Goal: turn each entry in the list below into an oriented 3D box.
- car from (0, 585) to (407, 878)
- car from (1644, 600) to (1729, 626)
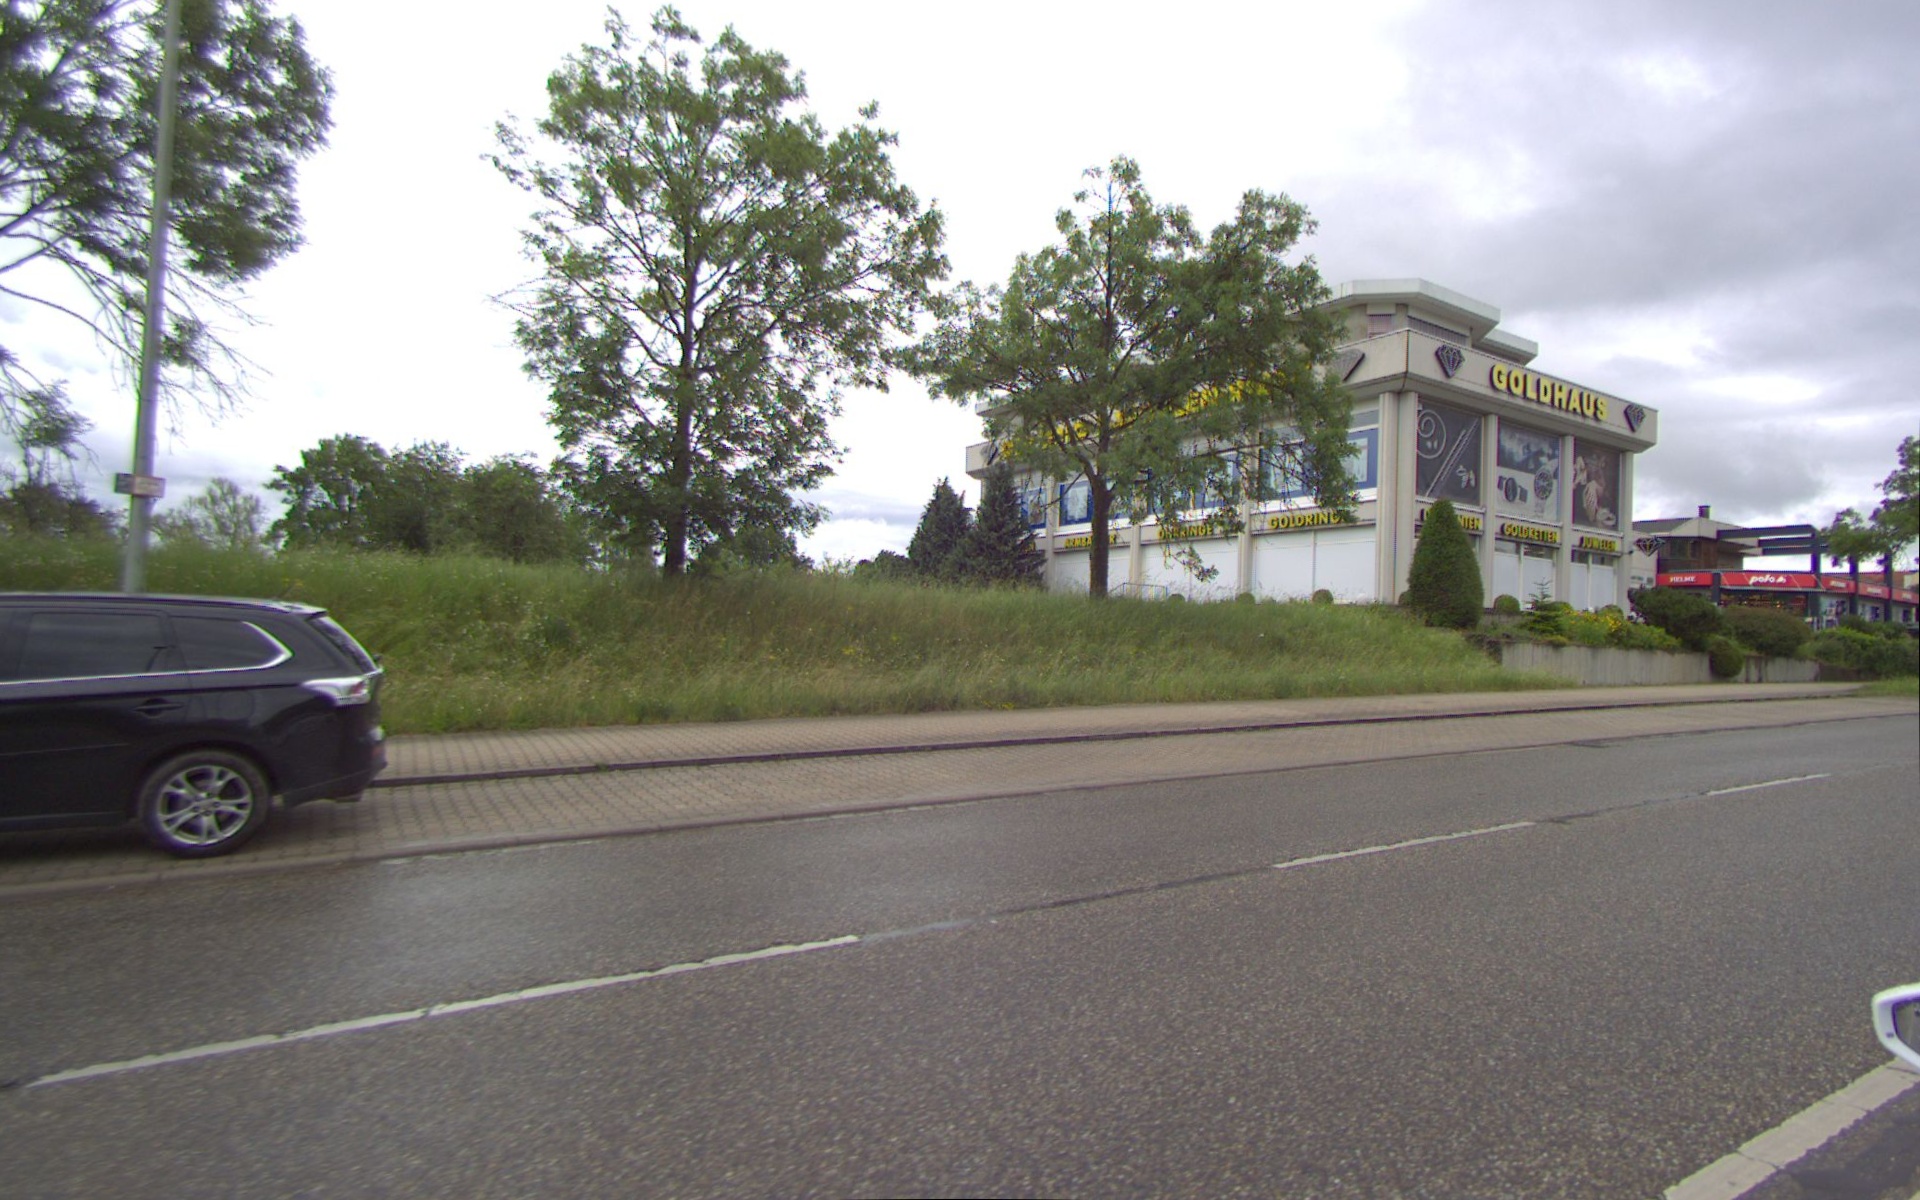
[{"bbox_3d":[-6.150,0.763,6.527,4.435,1.690,1.717,1,1,-30],"label":"car"},{"bbox_3d":[45.991,0.830,63.669,1.851,1.532,3.975,2,-2,-27],"label":"car"}]
